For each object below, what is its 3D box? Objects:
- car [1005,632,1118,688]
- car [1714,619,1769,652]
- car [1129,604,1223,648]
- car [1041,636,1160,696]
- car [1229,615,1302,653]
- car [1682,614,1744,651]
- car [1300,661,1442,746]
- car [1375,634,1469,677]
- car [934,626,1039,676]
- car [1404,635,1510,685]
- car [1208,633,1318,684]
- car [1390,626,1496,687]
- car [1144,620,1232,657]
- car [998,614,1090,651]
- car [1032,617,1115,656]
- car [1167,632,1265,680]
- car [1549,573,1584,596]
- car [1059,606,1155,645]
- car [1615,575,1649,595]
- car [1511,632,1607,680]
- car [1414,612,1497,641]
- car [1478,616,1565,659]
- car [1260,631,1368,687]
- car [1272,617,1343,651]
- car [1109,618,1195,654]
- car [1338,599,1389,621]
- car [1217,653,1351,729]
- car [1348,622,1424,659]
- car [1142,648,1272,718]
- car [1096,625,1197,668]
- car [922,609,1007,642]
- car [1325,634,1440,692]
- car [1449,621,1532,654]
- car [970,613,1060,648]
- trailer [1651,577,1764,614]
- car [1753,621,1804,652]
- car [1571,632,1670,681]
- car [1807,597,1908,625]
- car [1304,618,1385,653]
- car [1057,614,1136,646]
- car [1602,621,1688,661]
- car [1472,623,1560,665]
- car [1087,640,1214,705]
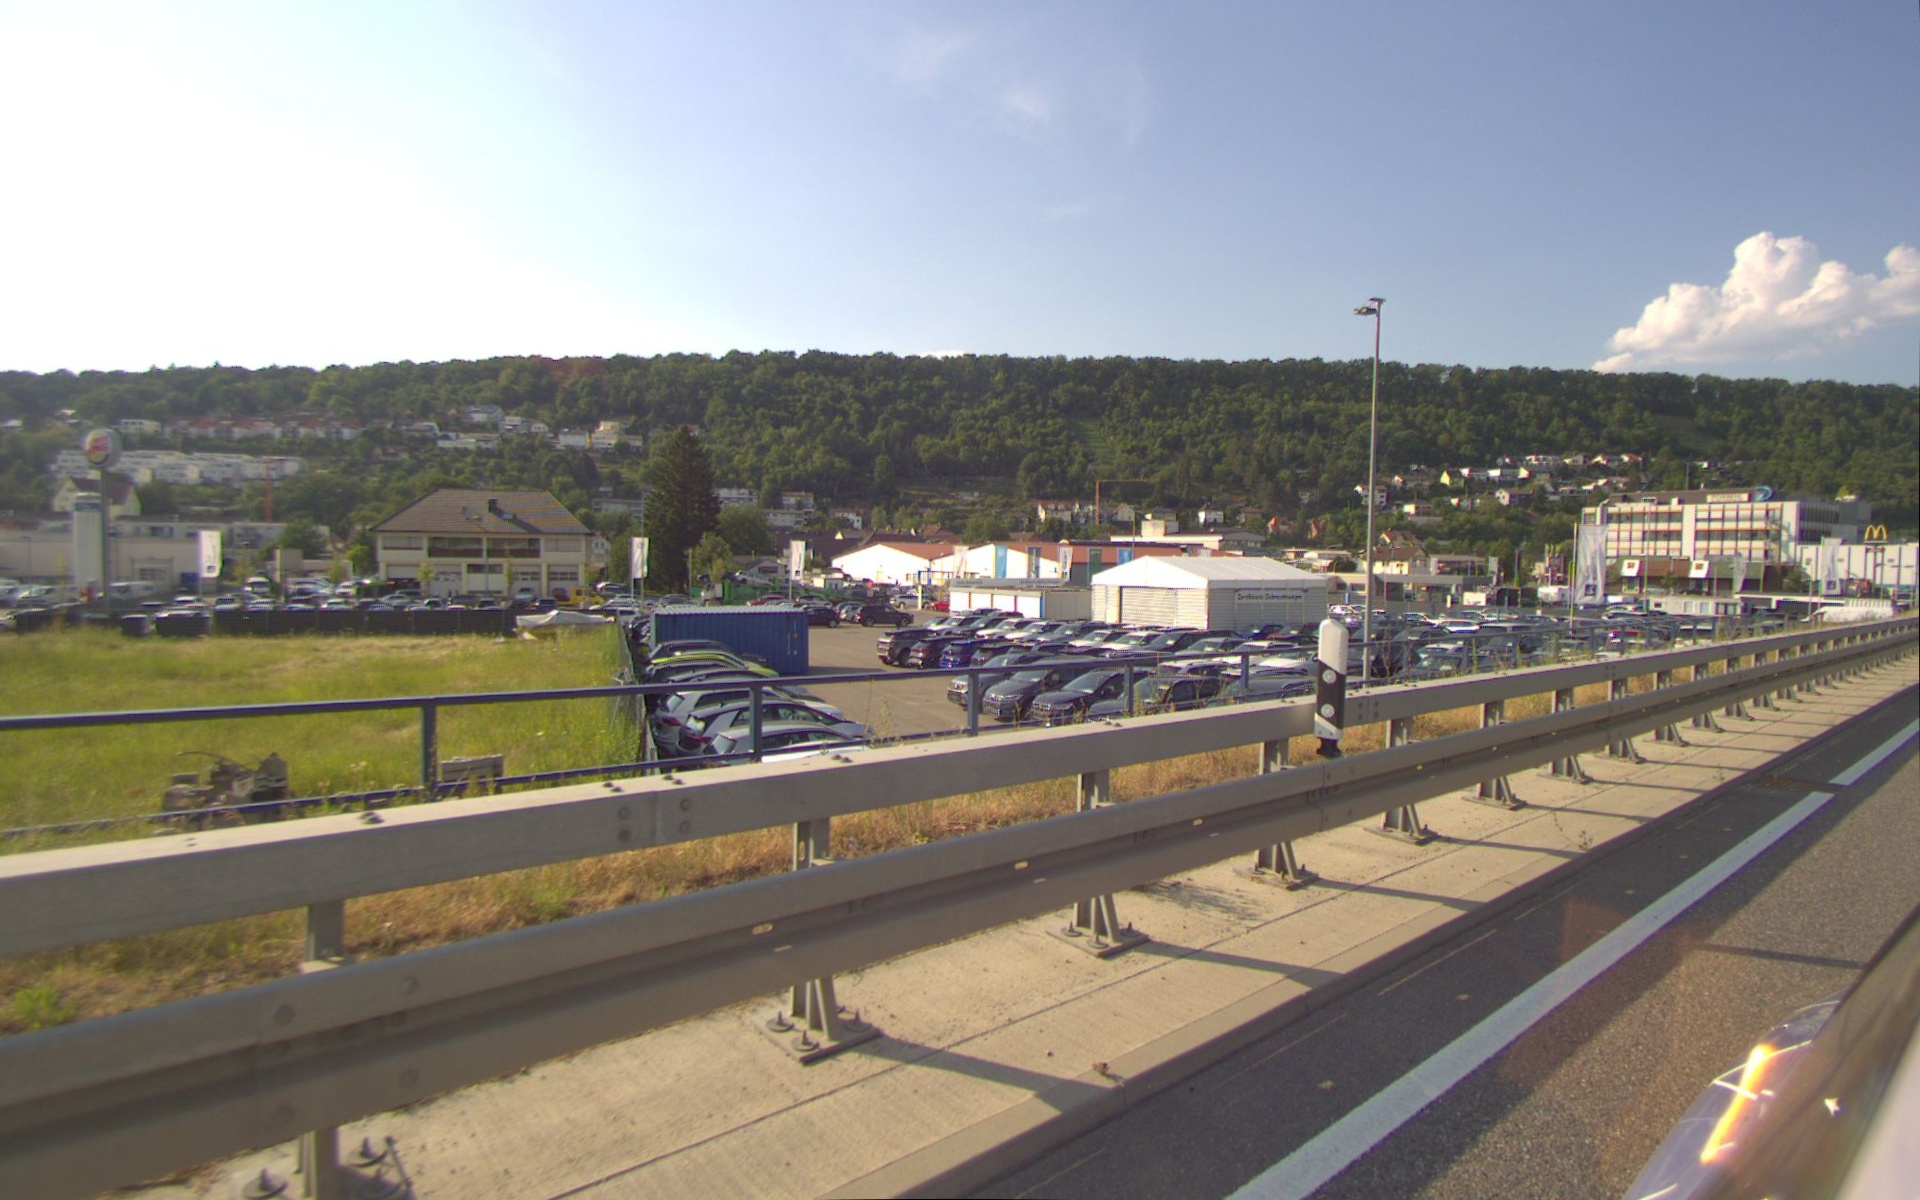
[{"bbox_3d":[3.704,2.129,36.695,3.926,1.705,1.780,-1,1,-37],"label":"car"},{"bbox_3d":[43.935,1.944,56.862,4.238,1.646,1.740,-1,1,-42],"label":"car"},{"bbox_3d":[9.319,1.076,43.543,3.925,1.705,1.780,-1,1,-36],"label":"car"},{"bbox_3d":[4.825,2.198,34.618,3.926,1.705,1.780,-1,1,-37],"label":"car"},{"bbox_3d":[17.510,1.914,57.966,3.924,1.702,1.784,-1,9,-35],"label":"car"},{"bbox_3d":[37.608,1.580,50.499,1.880,1.646,4.655,0,1,44],"label":"car"},{"bbox_3d":[10.605,2.573,26.017,3.930,1.705,1.778,-1,1,-40],"label":"car"},{"bbox_3d":[21.226,2.509,46.438,4.641,1.656,1.885,-1,1,-36],"label":"car"},{"bbox_3d":[1.074,1.965,40.139,3.926,1.705,1.780,-1,1,-37],"label":"car"},{"bbox_3d":[19.700,2.320,40.020,4.642,1.656,1.885,-1,1,-37],"label":"car"},{"bbox_3d":[11.989,2.264,39.910,4.645,1.656,1.884,-1,1,-40],"label":"car"},{"bbox_3d":[16.132,1.821,33.707,3.931,1.705,1.778,-1,1,-41],"label":"car"},{"bbox_3d":[11.835,1.946,52.448,4.641,1.656,1.885,-1,1,-36],"label":"car"},{"bbox_3d":[4.369,1.627,52.061,4.641,1.656,1.885,-1,1,-36],"label":"car"},{"bbox_3d":[5.604,1.744,49.745,3.926,1.705,1.780,-1,1,-37],"label":"car"},{"bbox_3d":[10.543,2.249,41.604,3.924,1.705,1.781,-1,1,-35],"label":"car"},{"bbox_3d":[71.432,-1.832,119.199,5.370,2.581,1.760,-1,1,-38],"label":"car"},{"bbox_3d":[6.999,1.155,48.023,4.644,1.656,1.884,-1,1,-39],"label":"car"},{"bbox_3d":[78.191,-1.713,117.727,5.201,2.274,1.760,-1,1,-38],"label":"car"},{"bbox_3d":[25.284,2.313,42.671,4.643,1.656,1.885,-1,1,-38],"label":"car"},{"bbox_3d":[31.547,1.660,64.496,1.849,1.656,4.441,-1,1,-33],"label":"car"},{"bbox_3d":[28.787,1.874,51.842,4.636,1.955,1.887,-1,1,-31],"label":"car"},{"bbox_3d":[13.294,2.163,37.878,4.588,1.737,1.837,-1,1,-42],"label":"car"},{"bbox_3d":[19.464,1.894,56.628,3.924,1.705,1.781,-1,1,-35],"label":"car"},{"bbox_3d":[10.377,1.900,54.461,4.641,1.656,1.885,-1,1,-36],"label":"car"},{"bbox_3d":[37.046,0.921,92.914,1.889,1.883,4.001,-1,1,-33],"label":"car"},{"bbox_3d":[9.113,2.481,28.355,3.930,1.705,1.778,-1,1,-40],"label":"car"},{"bbox_3d":[22.118,2.049,52.512,3.924,1.705,1.781,-1,1,-35],"label":"car"},{"bbox_3d":[7.475,2.445,30.495,3.927,1.705,1.779,-1,1,-38],"label":"car"},{"bbox_3d":[8.464,2.064,45.796,4.643,1.656,1.885,-1,1,-38],"label":"car"},{"bbox_3d":[0.274,1.431,57.617,4.641,1.656,1.885,-1,1,-36],"label":"car"},{"bbox_3d":[14.944,2.153,35.679,4.649,1.671,2.002,-1,1,-42],"label":"car"},{"bbox_3d":[29.015,2.011,55.297,4.636,1.541,1.887,-1,1,-31],"label":"car"},{"bbox_3d":[2.944,1.586,53.881,4.641,1.656,1.885,-1,1,-36],"label":"car"},{"bbox_3d":[69.536,-0.466,94.342,3.296,3.364,7.903,-1,1,-36],"label":"trailer"},{"bbox_3d":[49.506,2.180,61.222,4.237,1.646,1.740,-1,1,-42],"label":"car"},{"bbox_3d":[26.823,2.233,41.021,4.642,1.646,1.885,-1,1,-37],"label":"car"},{"bbox_3d":[72.484,0.854,81.799,1.964,2.039,5.896,-1,1,-38],"label":"car"},{"bbox_3d":[20.800,1.875,54.656,4.641,1.656,1.885,-1,1,-36],"label":"car"},{"bbox_3d":[7.947,1.706,58.812,4.488,1.656,1.885,-1,1,-36],"label":"car"},{"bbox_3d":[32.421,1.900,47.861,4.641,1.646,1.885,-1,1,-36],"label":"car"},{"bbox_3d":[25.688,2.000,46.723,4.643,1.656,1.884,-1,1,-38],"label":"car"},{"bbox_3d":[6.086,2.253,32.134,3.926,1.705,1.780,-1,1,-37],"label":"car"}]
